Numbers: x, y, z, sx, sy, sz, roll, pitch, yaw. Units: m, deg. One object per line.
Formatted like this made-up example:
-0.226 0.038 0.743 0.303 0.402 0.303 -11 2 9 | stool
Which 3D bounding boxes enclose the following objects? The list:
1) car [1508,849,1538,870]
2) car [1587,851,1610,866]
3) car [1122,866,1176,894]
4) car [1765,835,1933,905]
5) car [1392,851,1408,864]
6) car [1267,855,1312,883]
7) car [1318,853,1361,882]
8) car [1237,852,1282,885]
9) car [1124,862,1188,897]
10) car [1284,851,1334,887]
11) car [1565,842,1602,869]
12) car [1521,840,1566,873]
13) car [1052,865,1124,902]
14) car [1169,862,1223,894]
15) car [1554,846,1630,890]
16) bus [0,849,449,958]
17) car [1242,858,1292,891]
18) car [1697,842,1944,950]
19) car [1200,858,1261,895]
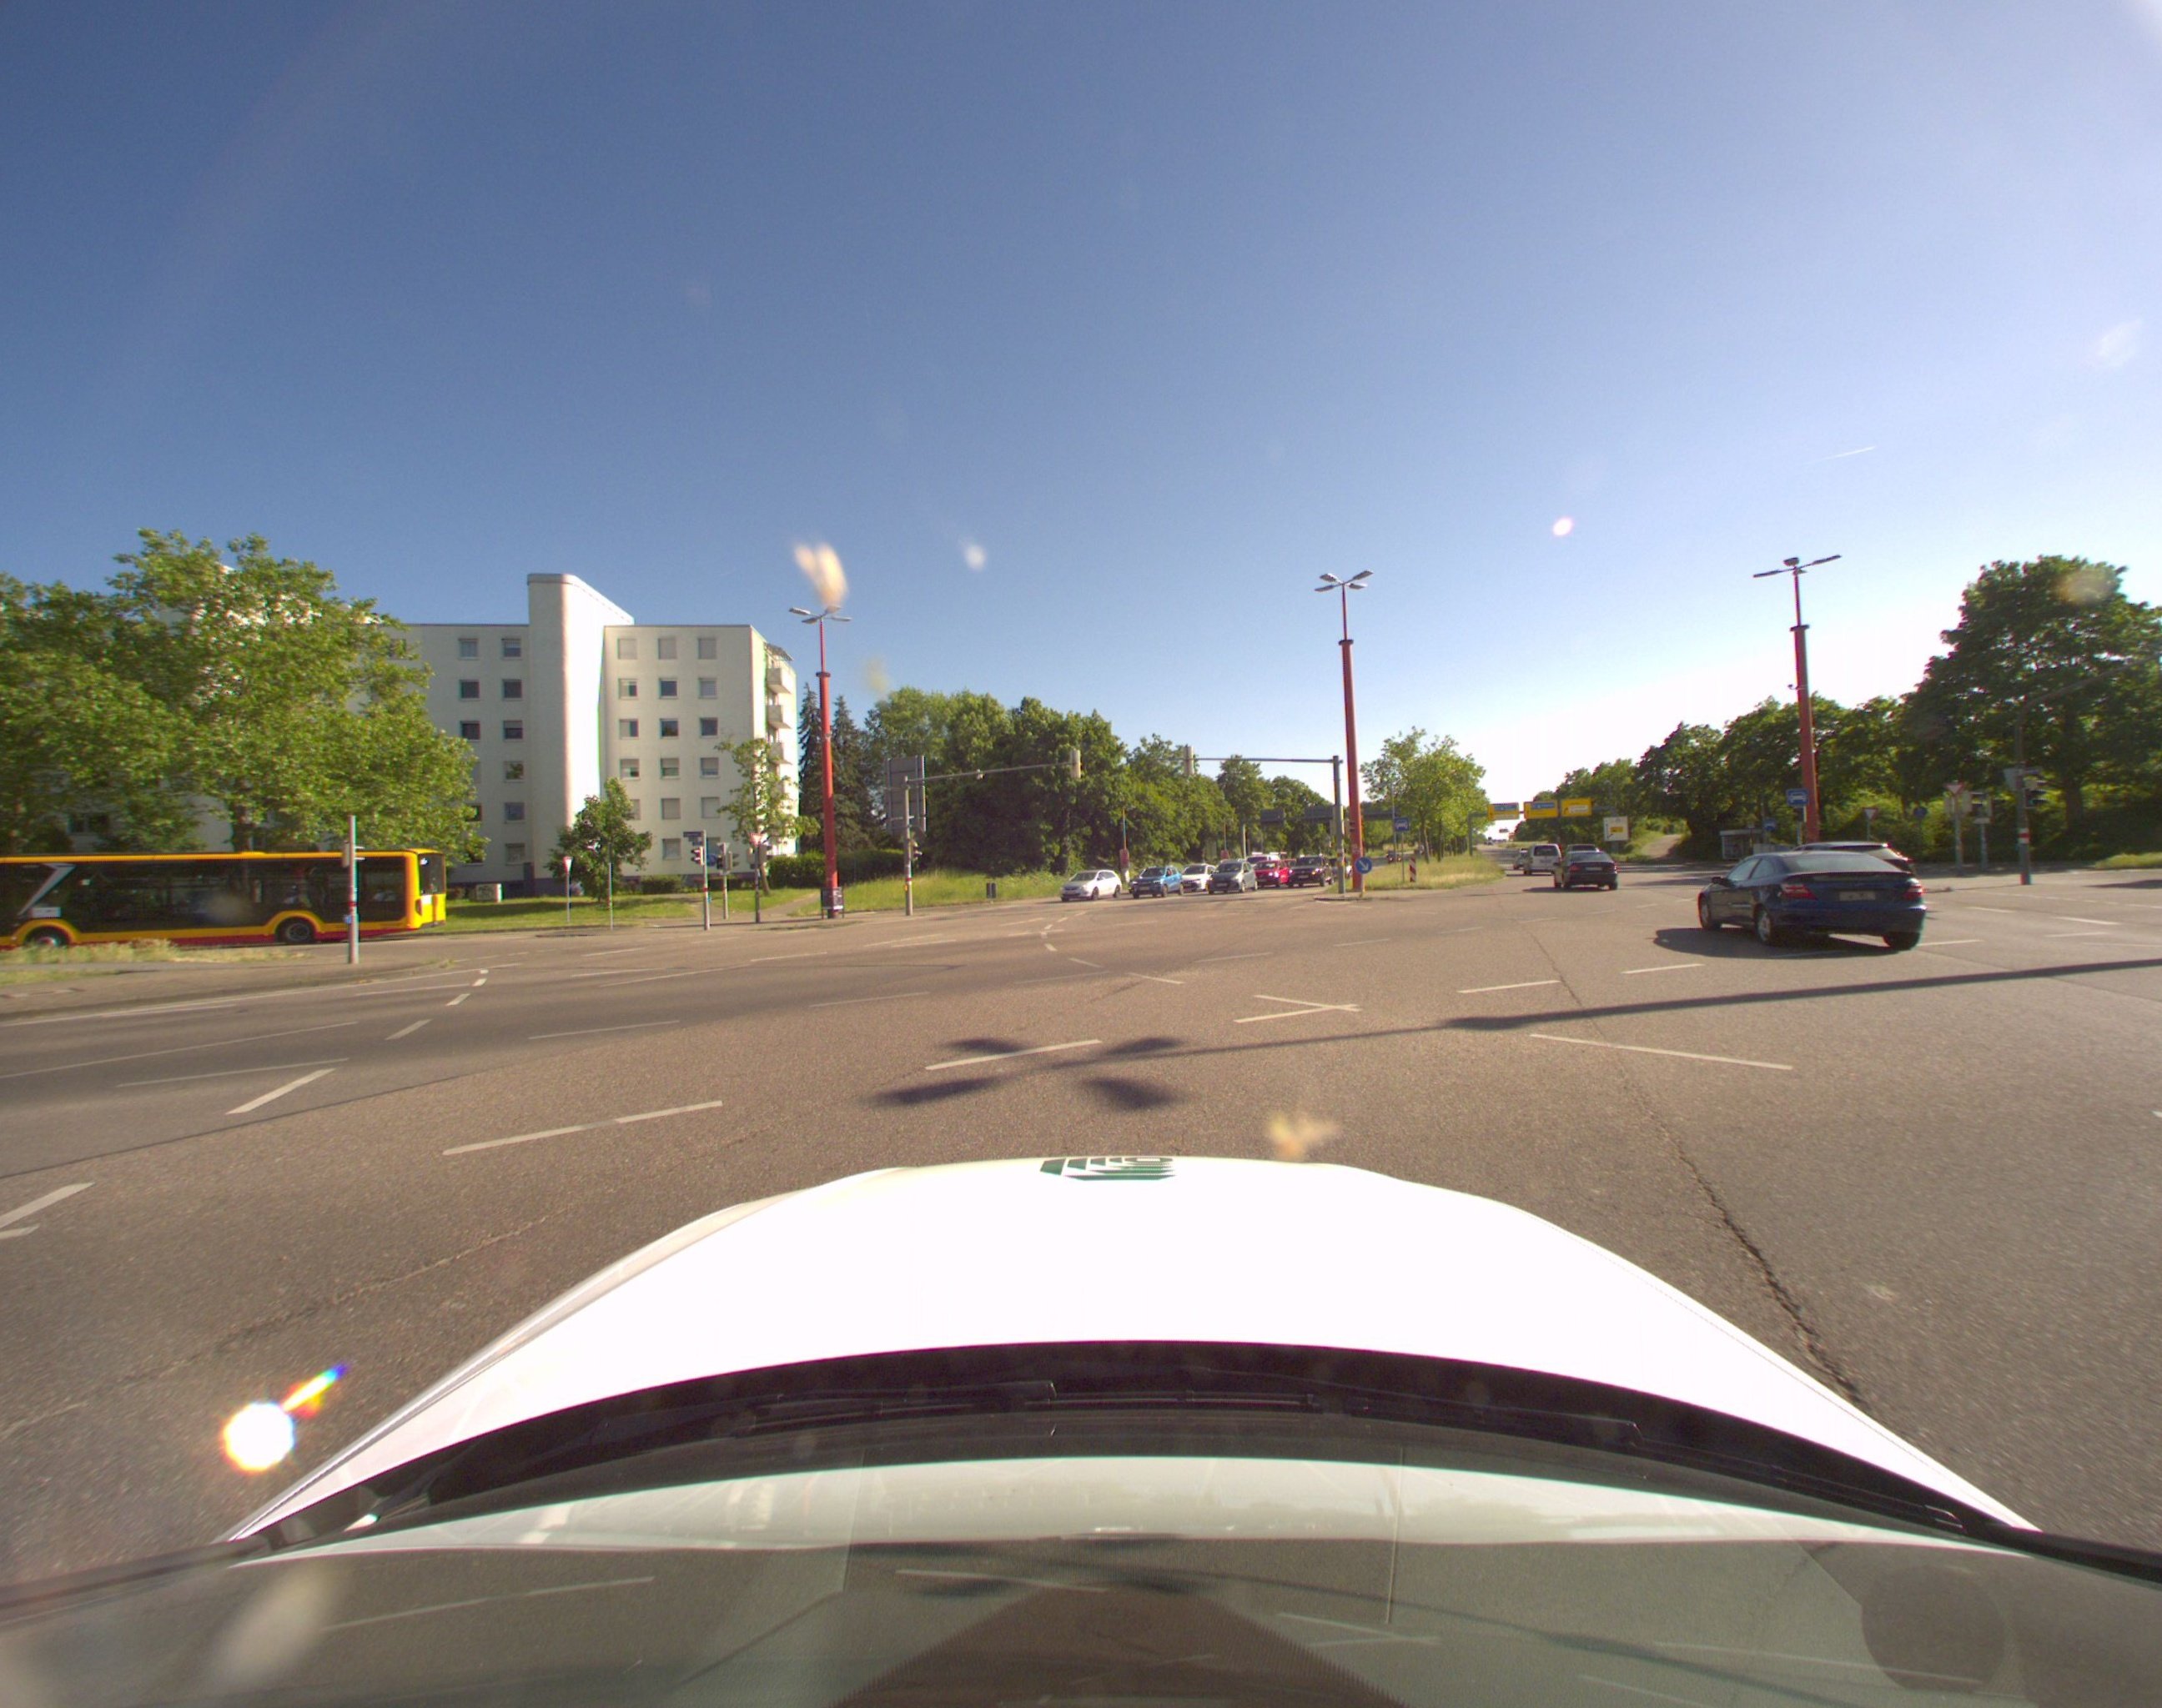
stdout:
33.890 0.433 62.525 1.788 1.493 4.709 -1 -1 25 | car
54.136 0.465 85.228 1.580 1.491 3.702 -1 -1 25 | car
4.151 1.558 49.390 1.867 1.513 4.023 -4 -2 25 | car
18.630 0.376 19.999 1.751 1.508 4.250 -1 -1 25 | car
45.553 0.502 116.306 1.899 1.846 3.981 -3 -1 20 | car
12.893 0.896 50.215 1.883 1.630 4.023 -2 -1 26 | car
15.365 0.791 48.219 1.868 1.543 4.023 -4 -2 24 | car
12.605 0.992 57.210 1.944 2.155 5.110 -3 -1 24 | car
3.690 1.217 39.497 1.785 1.516 3.881 -4 -2 25 | car
11.696 0.743 41.626 1.777 1.626 4.166 -4 -2 24 | car
38.637 0.113 62.762 1.788 1.852 5.132 -3 -1 25 | car
27.510 0.177 48.537 1.788 1.821 4.612 -2 -1 24 | car
0.412 1.420 40.686 1.860 1.652 4.243 -4 -2 26 | car
6.407 1.301 45.056 1.884 1.555 4.022 -4 -2 23 | car
18.905 0.494 30.306 1.698 1.454 4.221 -3 -1 23 | car
-29.576 1.543 27.700 12.535 3.261 2.637 -1 -1 -20 | bus
10.281 1.096 44.773 1.858 1.552 4.022 -6 -3 23 | car
11.385 0.584 12.909 1.703 1.420 4.073 -2 -1 25 | car
7.254 1.032 39.149 1.857 1.550 4.050 -4 -1 24 | car
